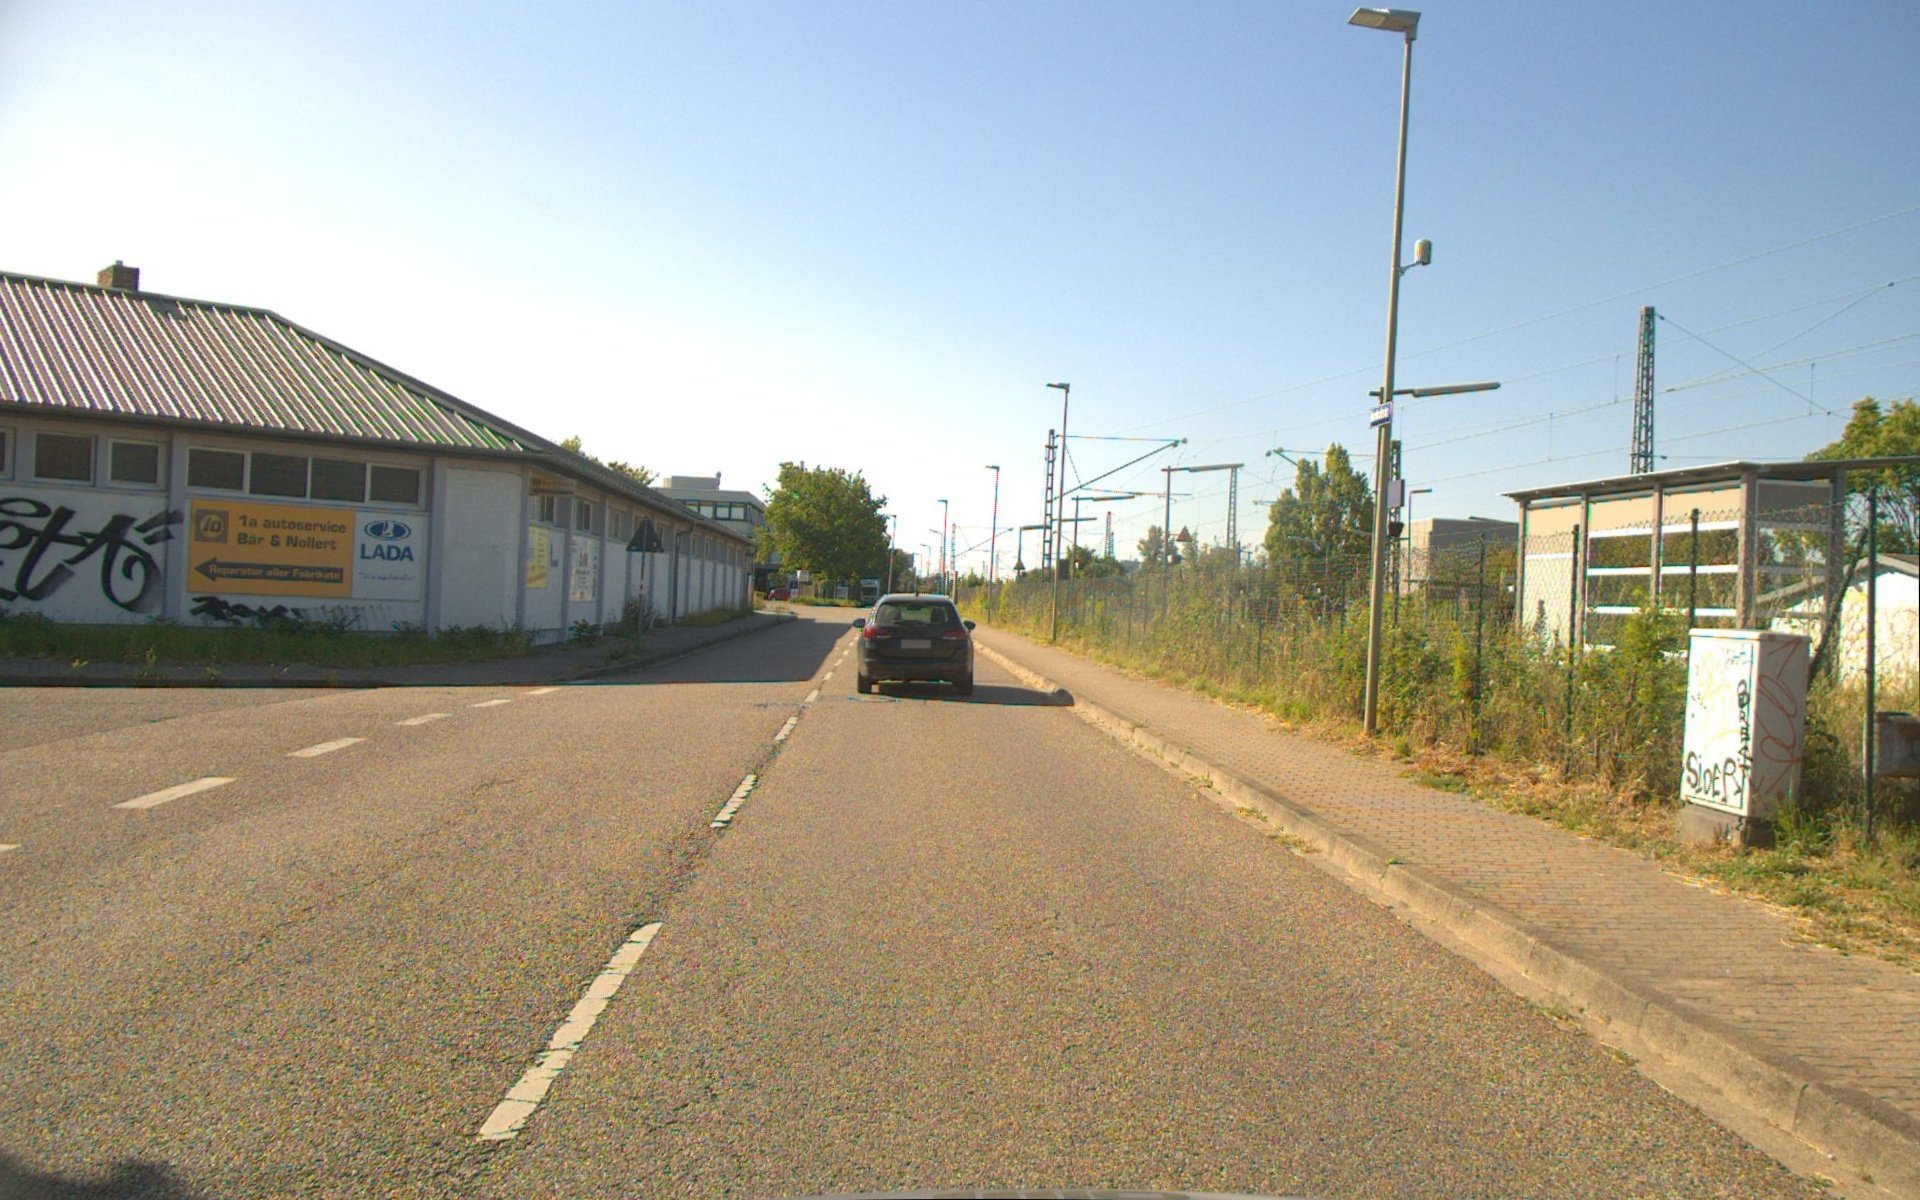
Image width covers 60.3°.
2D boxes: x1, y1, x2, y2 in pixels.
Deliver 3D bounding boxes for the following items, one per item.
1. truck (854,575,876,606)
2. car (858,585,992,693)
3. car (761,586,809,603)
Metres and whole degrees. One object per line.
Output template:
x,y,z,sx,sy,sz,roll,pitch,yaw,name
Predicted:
-12.829,-1.277,222.129,2.562,3.952,13.519,3,0,-4,truck
-0.614,0.565,25.962,1.903,1.515,4.562,1,0,-3,car
-18.796,-0.586,177.554,4.809,1.510,2.001,2,1,2,car
